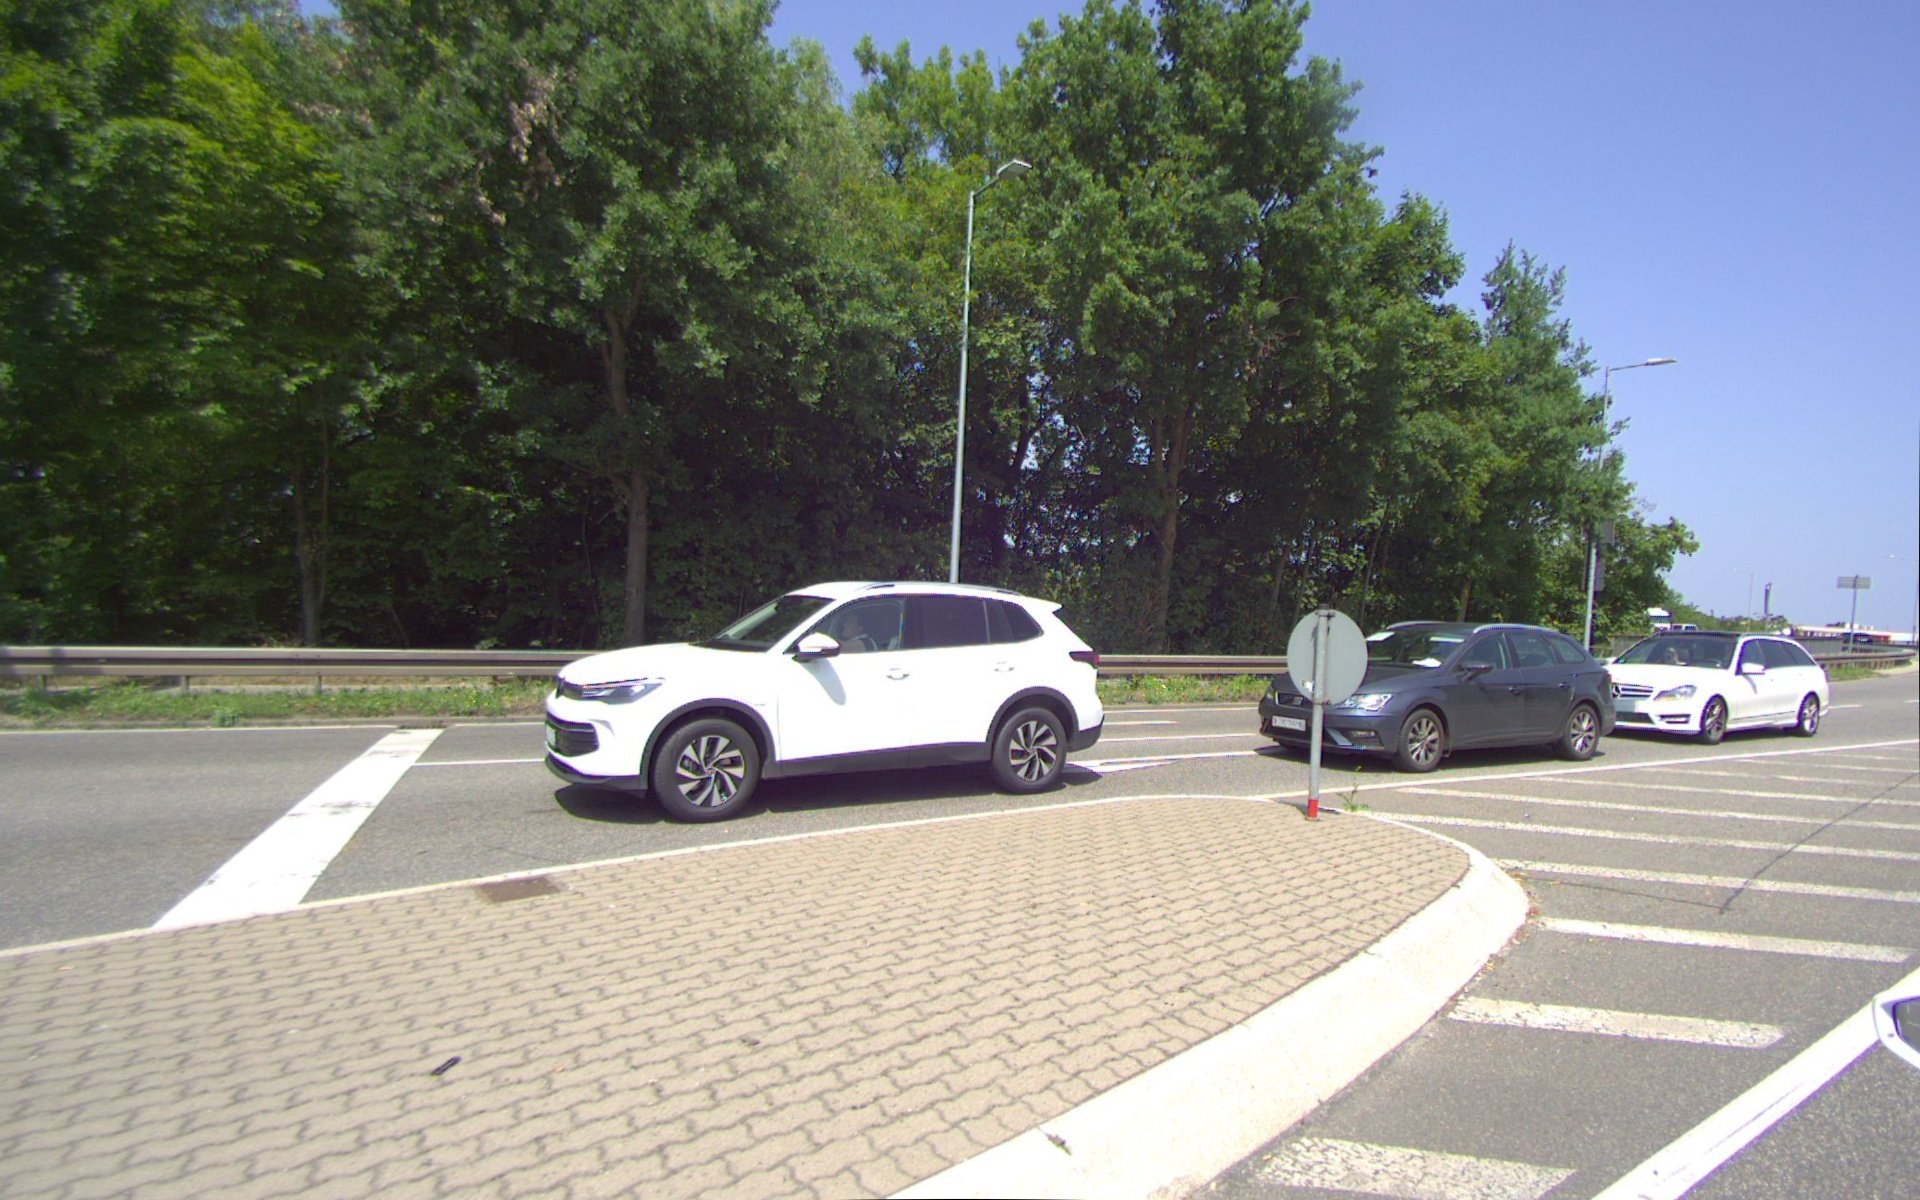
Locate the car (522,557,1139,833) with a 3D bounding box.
[{"bbox_3d":[-0.918,0.637,8.014,4.526,1.660,1.819,2,0,-31],"label":"car"}]

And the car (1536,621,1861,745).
[{"bbox_3d":[10.506,1.108,14.212,4.828,1.425,1.820,2,1,-29],"label":"car"}]

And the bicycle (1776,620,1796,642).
[{"bbox_3d":[71.903,2.698,87.406,0.687,1.826,2.179,3,1,24],"label":"bicycle"}]

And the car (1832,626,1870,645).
[{"bbox_3d":[81.309,3.231,91.722,1.813,1.528,3.627,3,1,30],"label":"car"}]

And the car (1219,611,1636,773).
[{"bbox_3d":[5.161,0.910,10.963,4.491,1.425,1.820,2,0,-29],"label":"car"}]

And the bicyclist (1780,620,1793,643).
[{"bbox_3d":[71.878,2.725,87.368,0.614,1.911,0.712,3,1,24],"label":"bicyclist"}]

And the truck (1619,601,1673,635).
[{"bbox_3d":[86.946,2.256,127.423,2.660,4.045,6.187,2,1,4],"label":"truck"}]
